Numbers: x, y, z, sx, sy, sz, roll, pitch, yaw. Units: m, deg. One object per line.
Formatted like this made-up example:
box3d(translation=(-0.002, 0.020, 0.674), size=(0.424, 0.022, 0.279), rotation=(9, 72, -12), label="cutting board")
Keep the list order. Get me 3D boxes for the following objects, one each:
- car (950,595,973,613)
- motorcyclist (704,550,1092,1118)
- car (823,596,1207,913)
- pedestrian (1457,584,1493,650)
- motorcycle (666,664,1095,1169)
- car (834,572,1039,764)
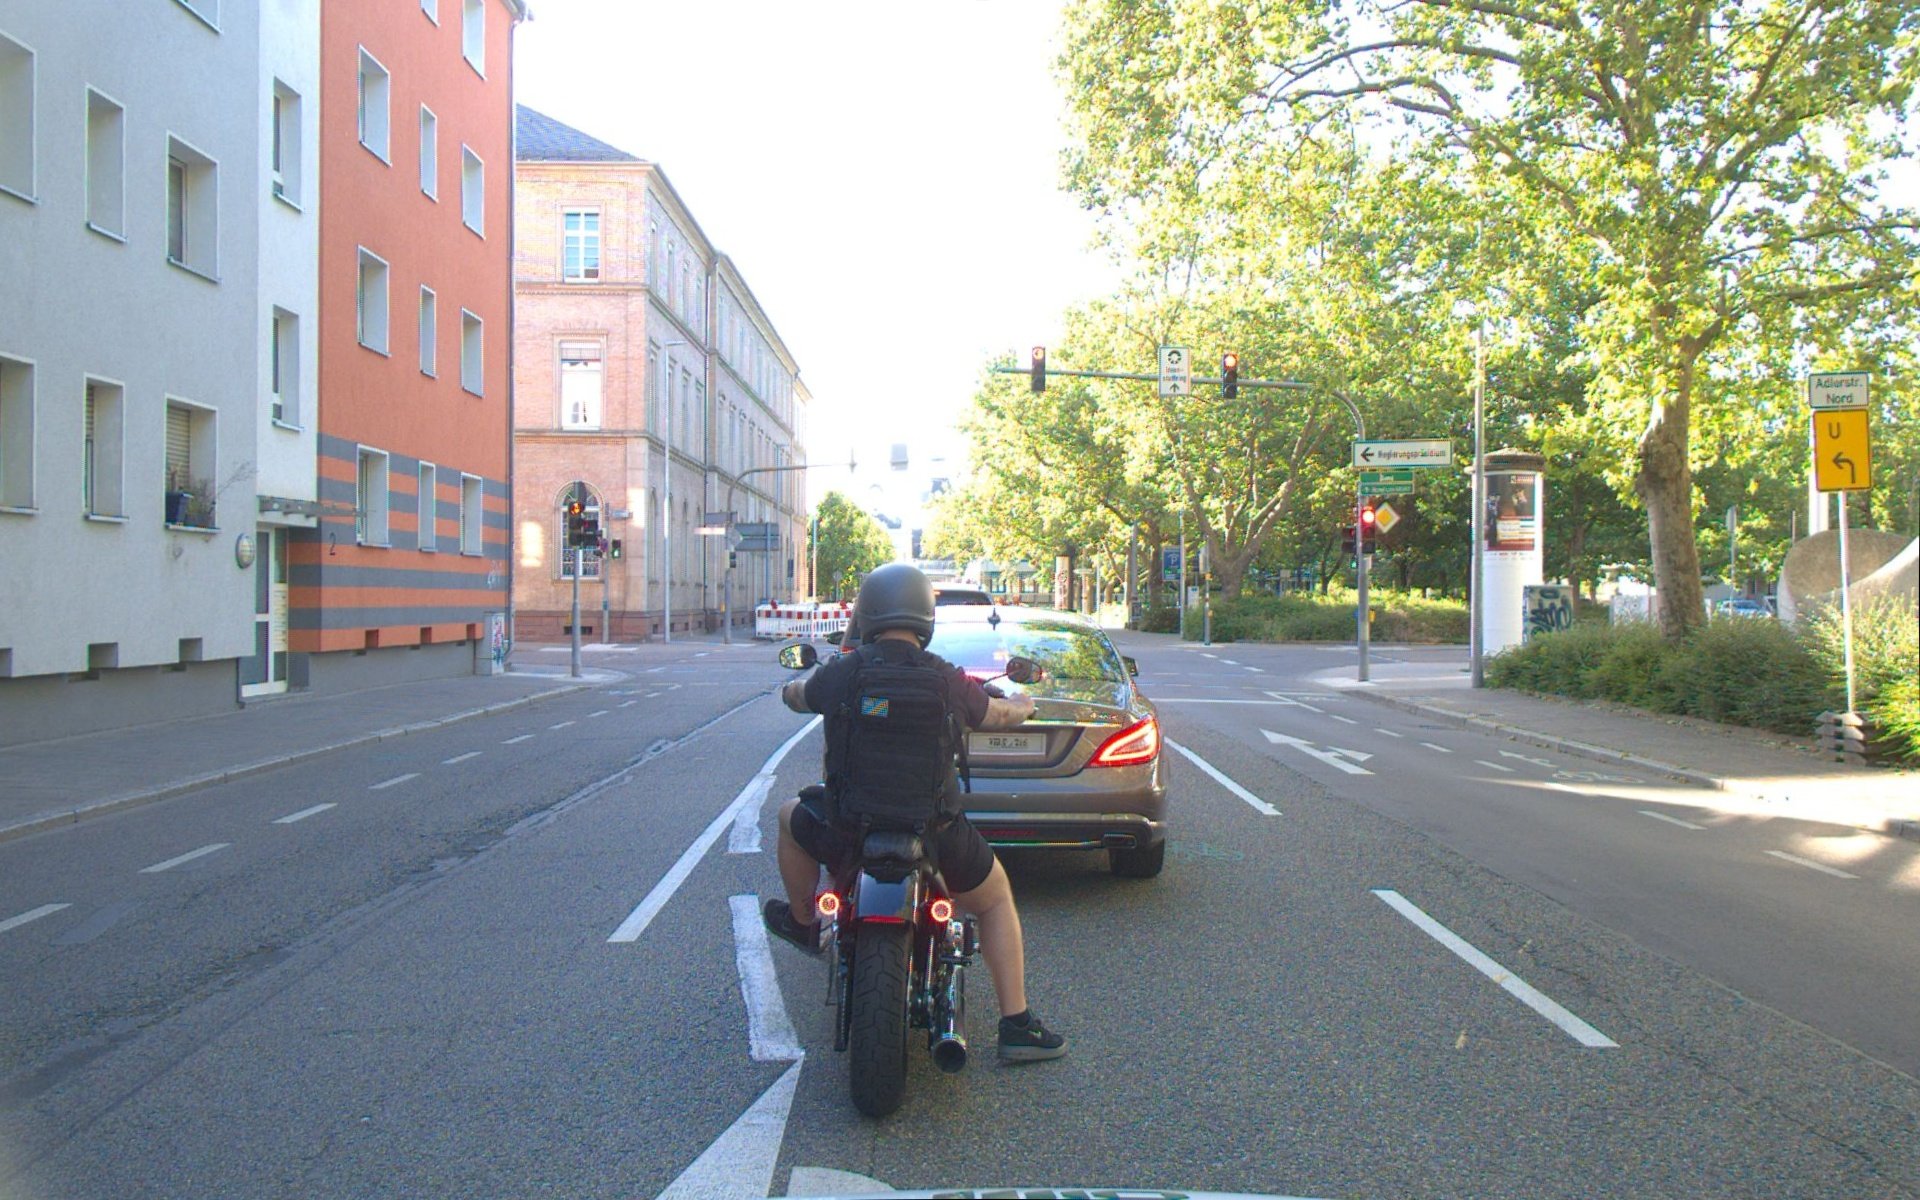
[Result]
box3d(translation=(0.121, 0.291, 122.229), size=(1.598, 1.281, 3.715), rotation=(1, 0, -1), label="car")
box3d(translation=(-0.140, 0.664, 5.271), size=(1.076, 1.593, 1.072), rotation=(1, 0, 5), label="motorcyclist")
box3d(translation=(0.235, 0.734, 9.663), size=(1.785, 1.462, 3.805), rotation=(1, 0, -1), label="car")
box3d(translation=(14.348, 0.478, 46.116), size=(0.721, 1.809, 0.729), rotation=(1, -1, -5), label="pedestrian")
box3d(translation=(-0.127, 0.875, 5.491), size=(1.094, 1.228, 2.213), rotation=(1, 0, 5), label="motorcycle")
box3d(translation=(-0.238, 0.625, 16.935), size=(1.825, 1.707, 3.999), rotation=(1, 0, -1), label="car")
